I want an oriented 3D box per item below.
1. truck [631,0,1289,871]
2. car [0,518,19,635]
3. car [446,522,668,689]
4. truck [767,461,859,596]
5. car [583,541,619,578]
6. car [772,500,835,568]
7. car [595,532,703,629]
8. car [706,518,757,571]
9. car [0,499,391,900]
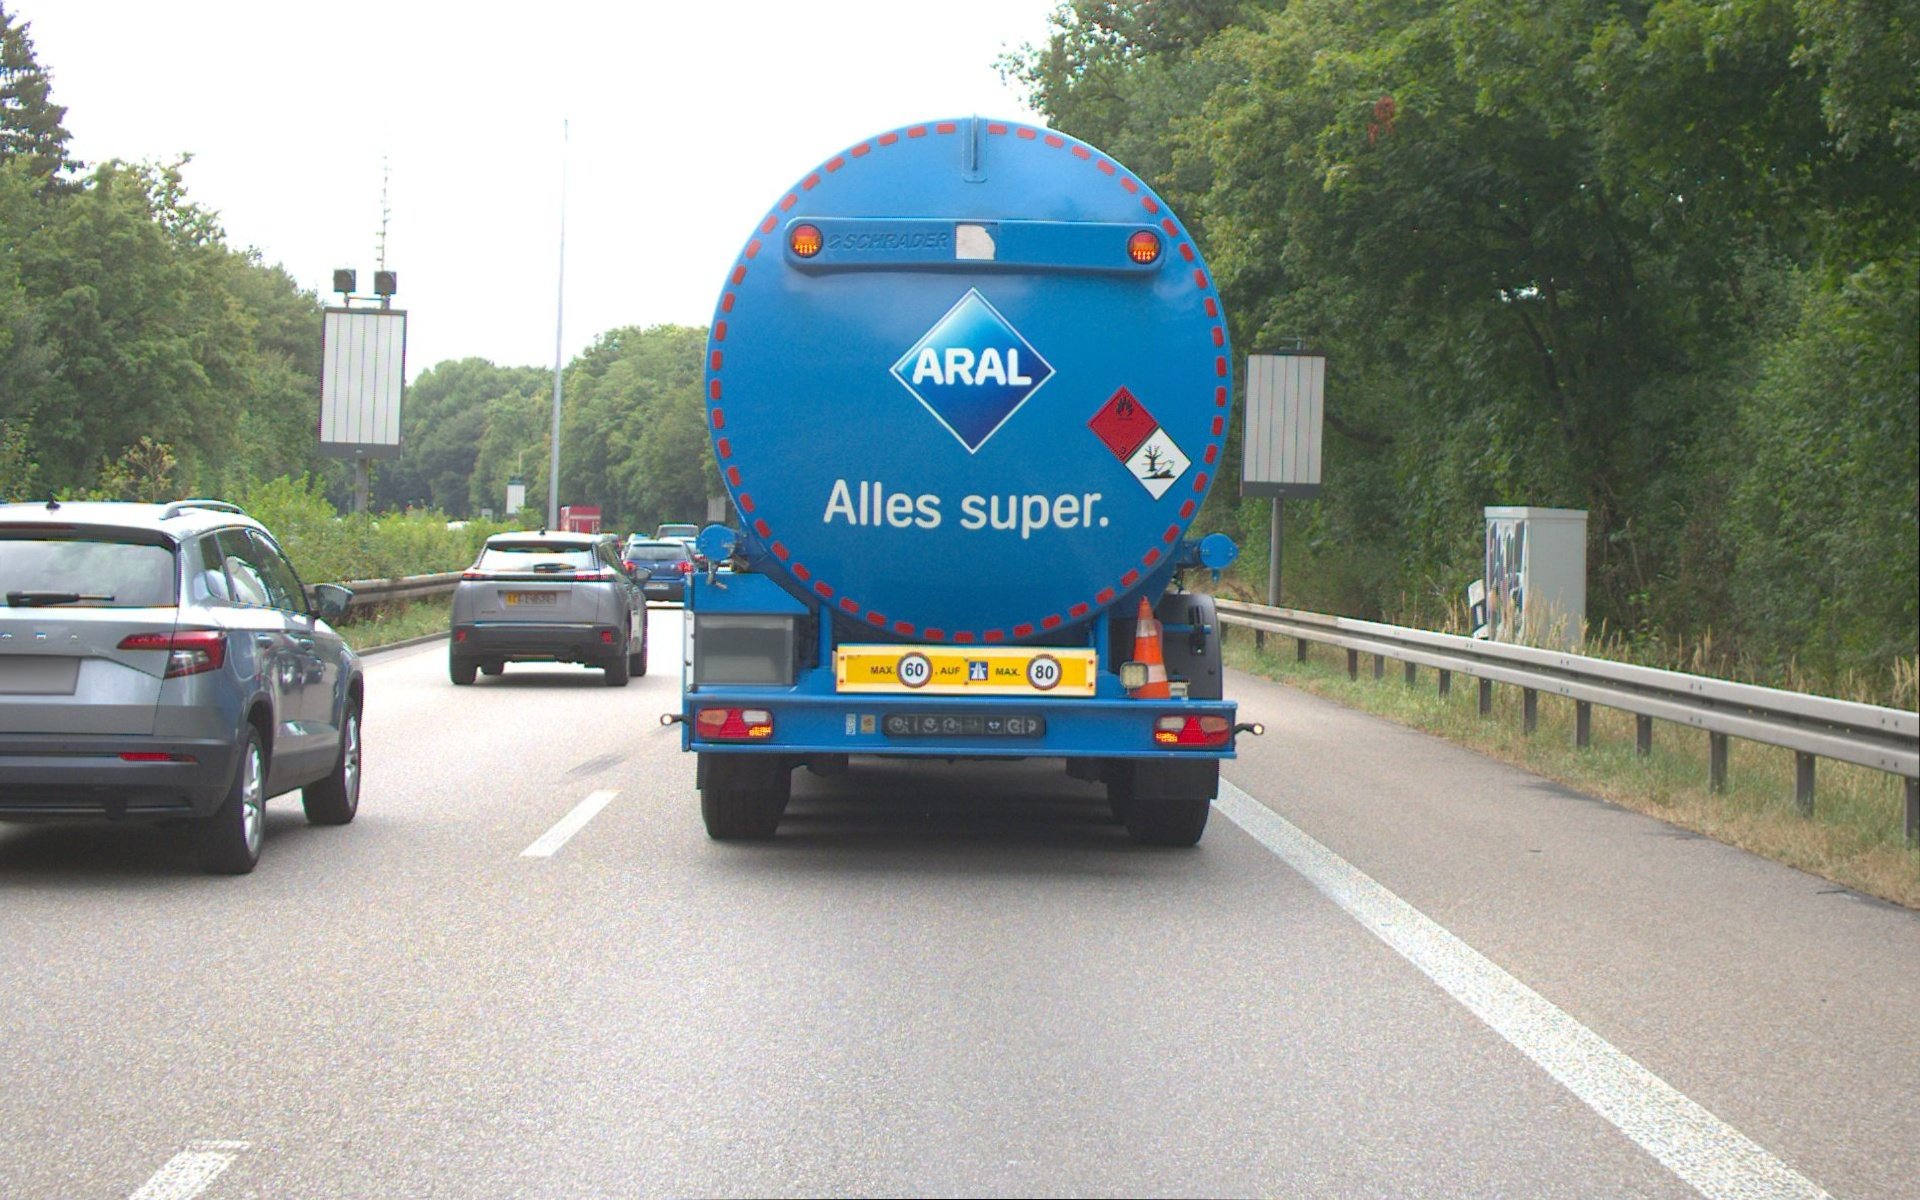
[{"bbox_3d":[-0.044,-0.813,18.516,2.755,3.833,7.688,1,0,-1],"label":"truck"},{"bbox_3d":[-17.332,-0.407,57.574,1.796,2.007,5.302,1,0,-2],"label":"car"},{"bbox_3d":[-4.095,0.035,35.499,1.826,1.604,4.167,1,0,-1],"label":"car"},{"bbox_3d":[-3.518,-1.687,83.326,1.993,3.082,7.815,1,0,-1],"label":"truck"},{"bbox_3d":[-21.811,-2.459,208.829,1.993,2.237,4.001,1,0,-8],"label":"car"},{"bbox_3d":[-5.310,-2.237,116.890,1.993,2.237,4.000,1,0,-1],"label":"car"},{"bbox_3d":[-6.673,-0.433,74.137,1.993,2.007,4.000,1,0,-1],"label":"car"},{"bbox_3d":[-9.946,-2.418,150.003,1.993,2.237,4.000,1,0,-1],"label":"car"},{"bbox_3d":[-3.884,0.378,15.945,1.826,1.604,4.167,1,0,-1],"label":"car"}]
